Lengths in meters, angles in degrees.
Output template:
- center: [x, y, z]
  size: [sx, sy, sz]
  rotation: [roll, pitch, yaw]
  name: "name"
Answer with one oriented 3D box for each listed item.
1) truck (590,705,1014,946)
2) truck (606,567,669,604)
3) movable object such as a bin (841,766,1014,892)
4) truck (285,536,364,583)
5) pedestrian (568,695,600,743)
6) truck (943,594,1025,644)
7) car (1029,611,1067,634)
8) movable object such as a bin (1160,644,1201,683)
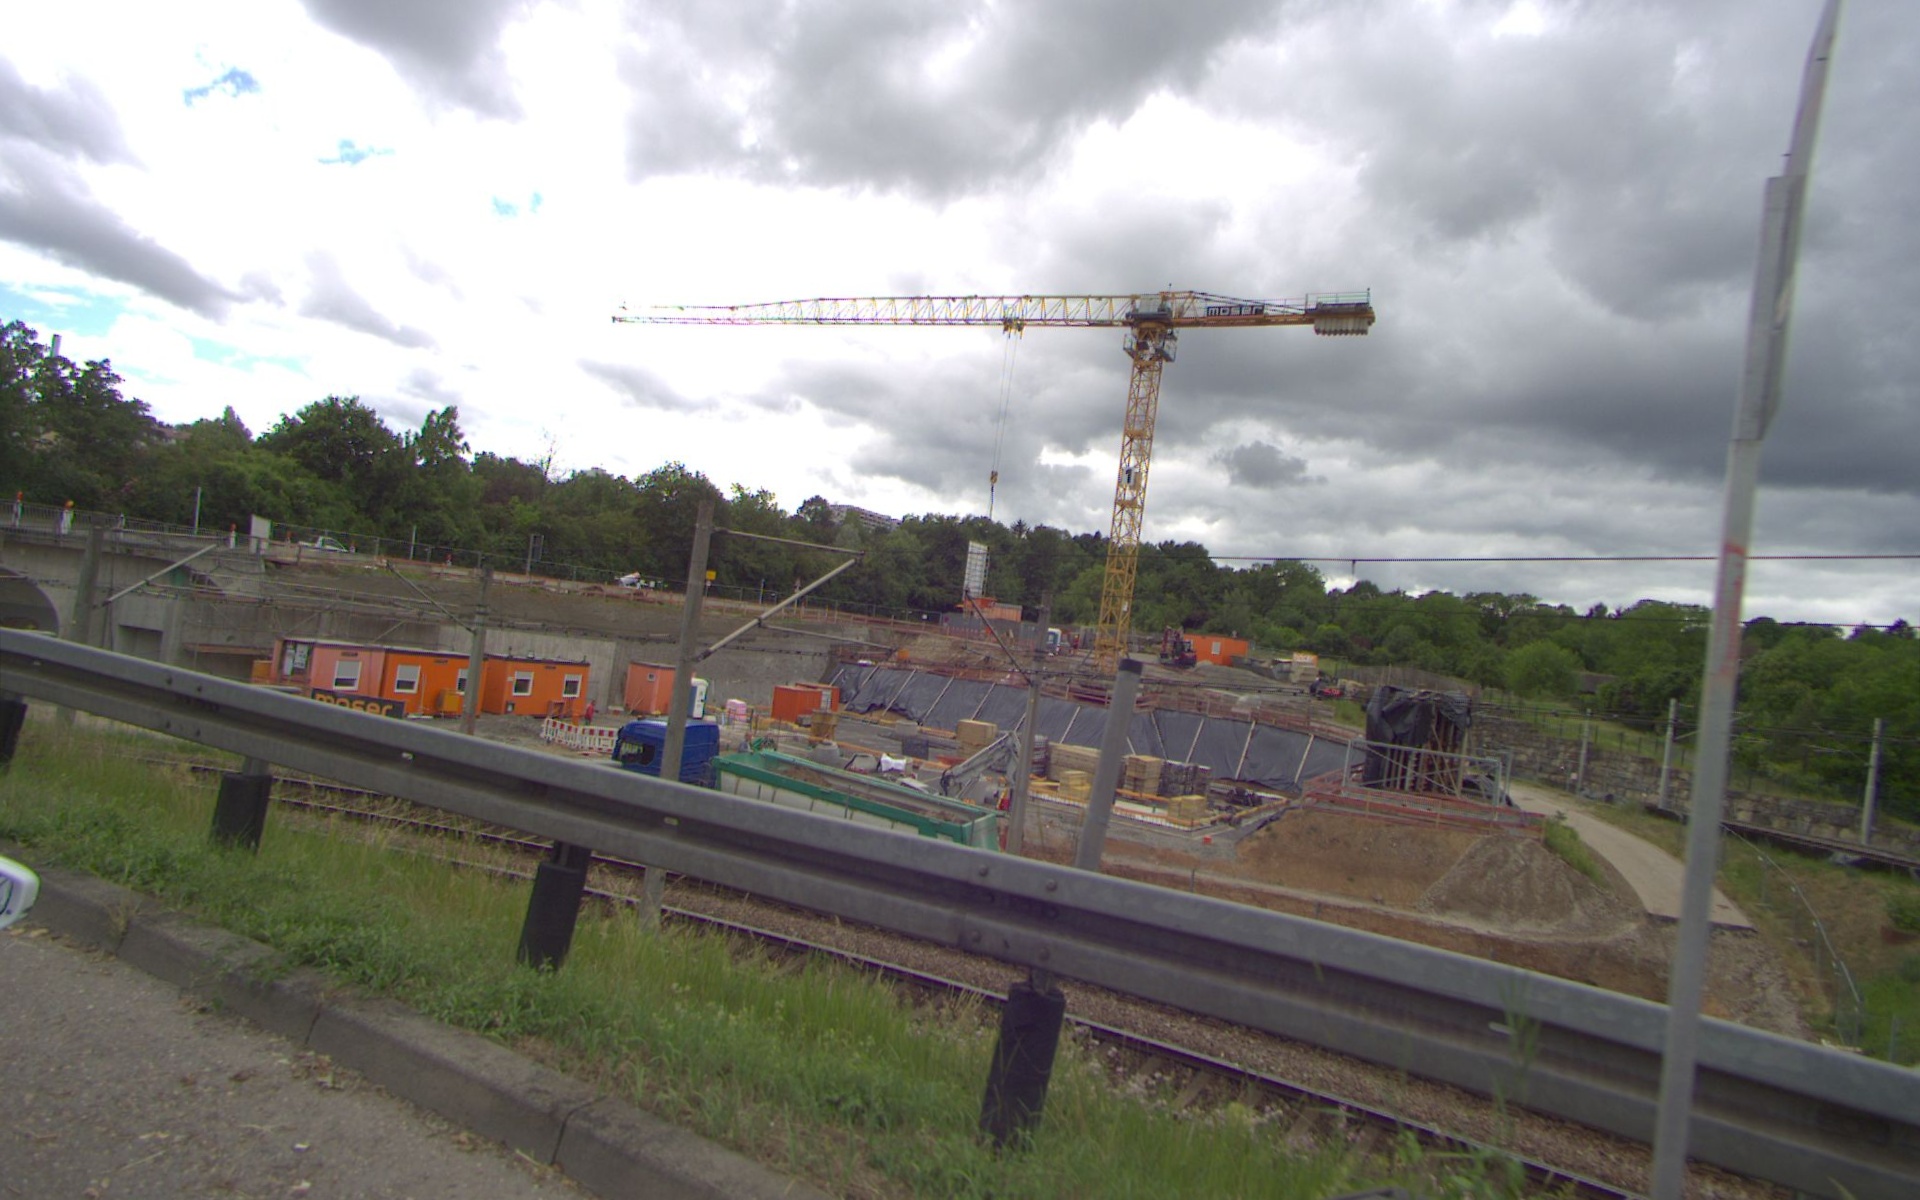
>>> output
- center: [-4.570, 5.891, 28.130]
  size: [11.406, 3.937, 2.849]
  rotation: [9, -1, 22]
  name: "truck"
- center: [-24.742, -1.114, 77.218]
  size: [1.970, 2.034, 3.994]
  rotation: [6, -5, 37]
  name: "truck"
- center: [-1.044, 7.152, 32.121]
  size: [4.223, 2.781, 3.038]
  rotation: [9, -1, 39]
  name: "movable object such as a bin"
- center: [-36.961, -2.322, 58.572]
  size: [1.709, 2.034, 3.232]
  rotation: [7, -5, 25]
  name: "truck"
- center: [-16.804, 5.324, 44.948]
  size: [0.691, 2.033, 0.805]
  rotation: [6, -5, 22]
  name: "pedestrian"
- center: [2.736, 2.193, 111.818]
  size: [3.078, 4.269, 9.751]
  rotation: [7, -2, 42]
  name: "truck"
- center: [9.718, 2.536, 111.258]
  size: [1.975, 2.036, 3.980]
  rotation: [5, -4, 45]
  name: "car"
- center: [19.775, 5.642, 90.141]
  size: [2.763, 3.112, 1.833]
  rotation: [5, -3, 42]
  name: "movable object such as a bin"
